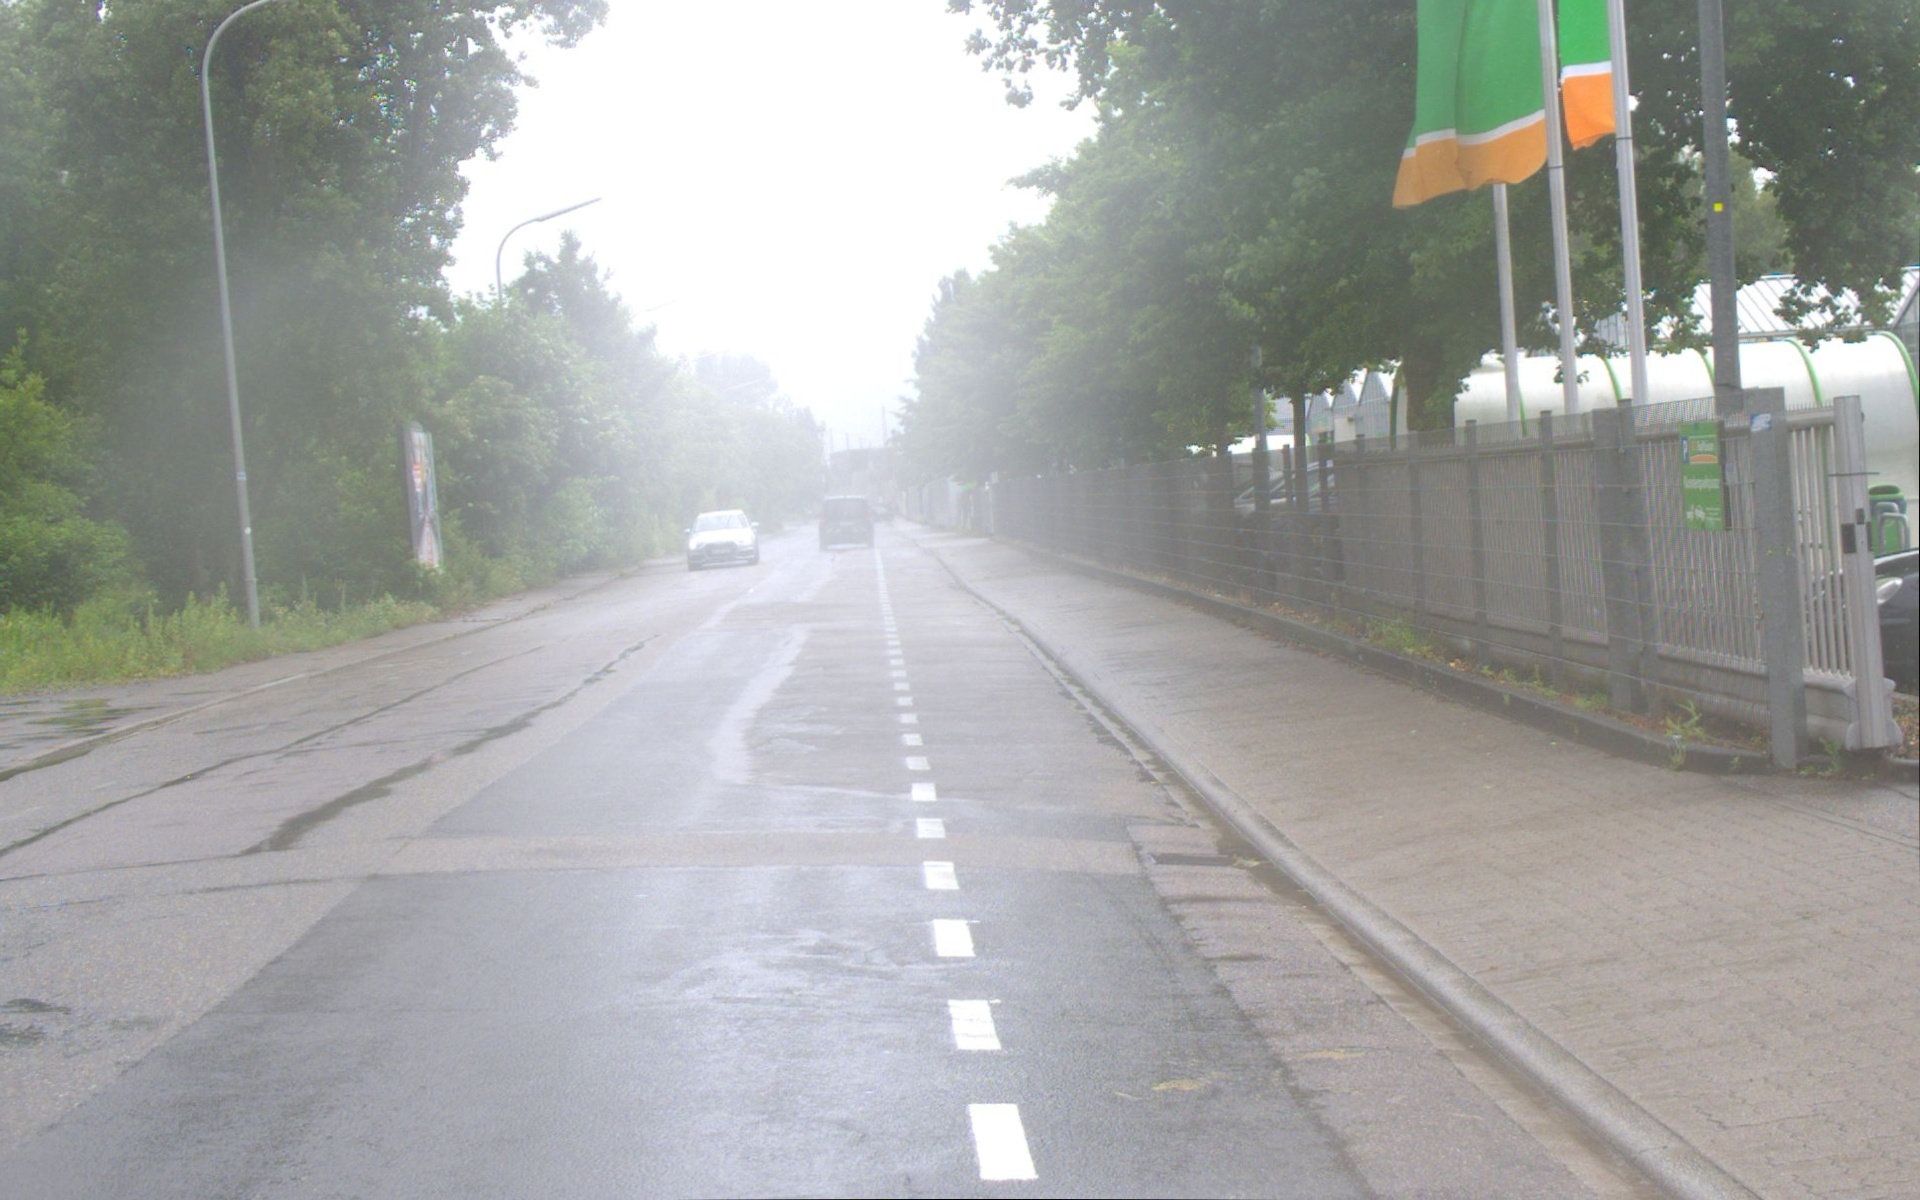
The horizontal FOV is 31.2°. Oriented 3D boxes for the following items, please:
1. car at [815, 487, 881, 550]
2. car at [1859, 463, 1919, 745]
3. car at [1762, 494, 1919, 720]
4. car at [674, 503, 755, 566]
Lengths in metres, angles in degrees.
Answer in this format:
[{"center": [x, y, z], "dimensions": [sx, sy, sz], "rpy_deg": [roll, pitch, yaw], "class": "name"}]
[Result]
[{"center": [-3.726, -2.683, 114.299], "dimensions": [1.993, 1.904, 4.201], "rpy_deg": [-4, 1, -2], "class": "car"}, {"center": [7.293, -0.104, 17.777], "dimensions": [4.703, 1.457, 1.891], "rpy_deg": [-3, 2, -2], "class": "car"}, {"center": [6.937, -0.058, 20.324], "dimensions": [3.938, 1.252, 1.619], "rpy_deg": [-3, 1, -2], "class": "car"}, {"center": [-6.486, -1.748, 91.199], "dimensions": [1.733, 1.445, 4.381], "rpy_deg": [-6, 2, 0], "class": "car"}]
